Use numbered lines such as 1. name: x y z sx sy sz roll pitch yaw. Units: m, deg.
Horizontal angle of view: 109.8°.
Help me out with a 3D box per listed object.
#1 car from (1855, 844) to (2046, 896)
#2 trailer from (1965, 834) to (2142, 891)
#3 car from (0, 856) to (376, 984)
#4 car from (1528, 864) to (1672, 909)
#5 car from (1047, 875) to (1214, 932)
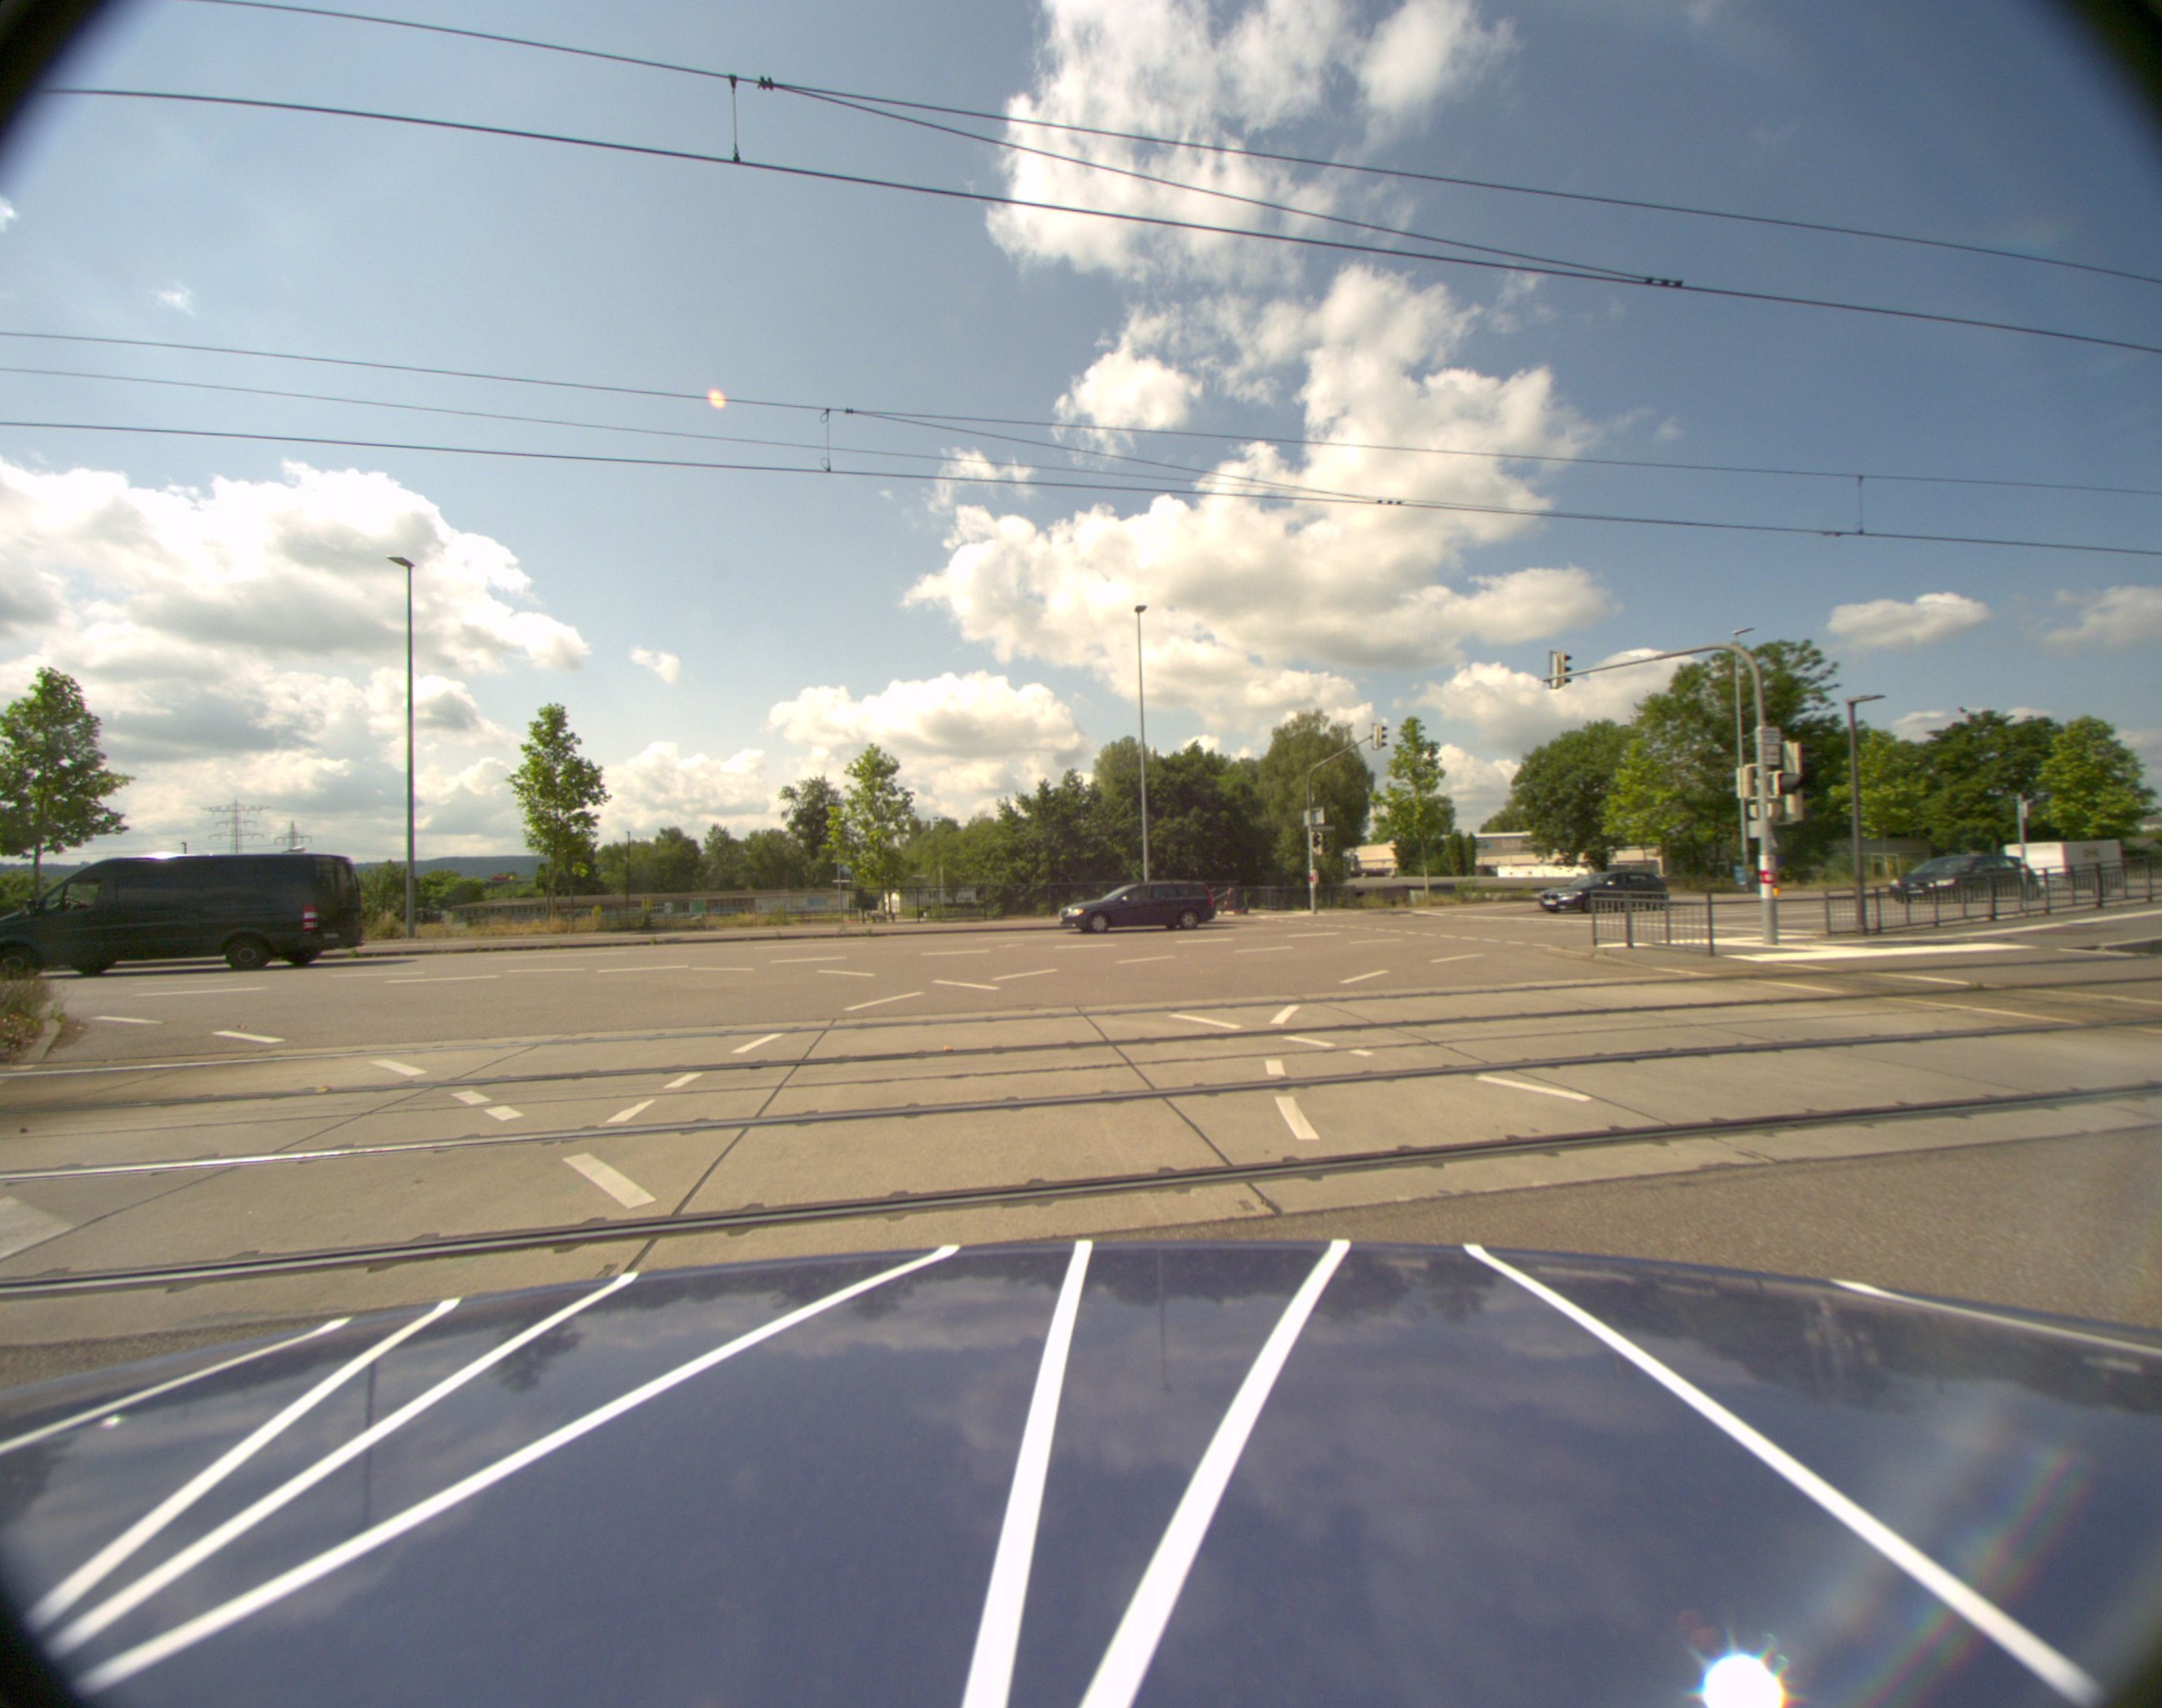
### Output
1. car: 29.109 0.505 25.485 5.254 1.565 1.998 -1 0 -14
2. trailer: 34.205 0.271 26.739 5.184 1.820 1.823 -1 0 -13
3. car: -20.081 1.395 17.202 5.681 2.588 1.990 0 -3 -19
4. car: 18.496 1.155 27.174 4.069 1.438 1.729 -2 -1 -6
5. car: 1.476 1.479 23.585 4.782 1.499 1.966 -2 -1 -10
